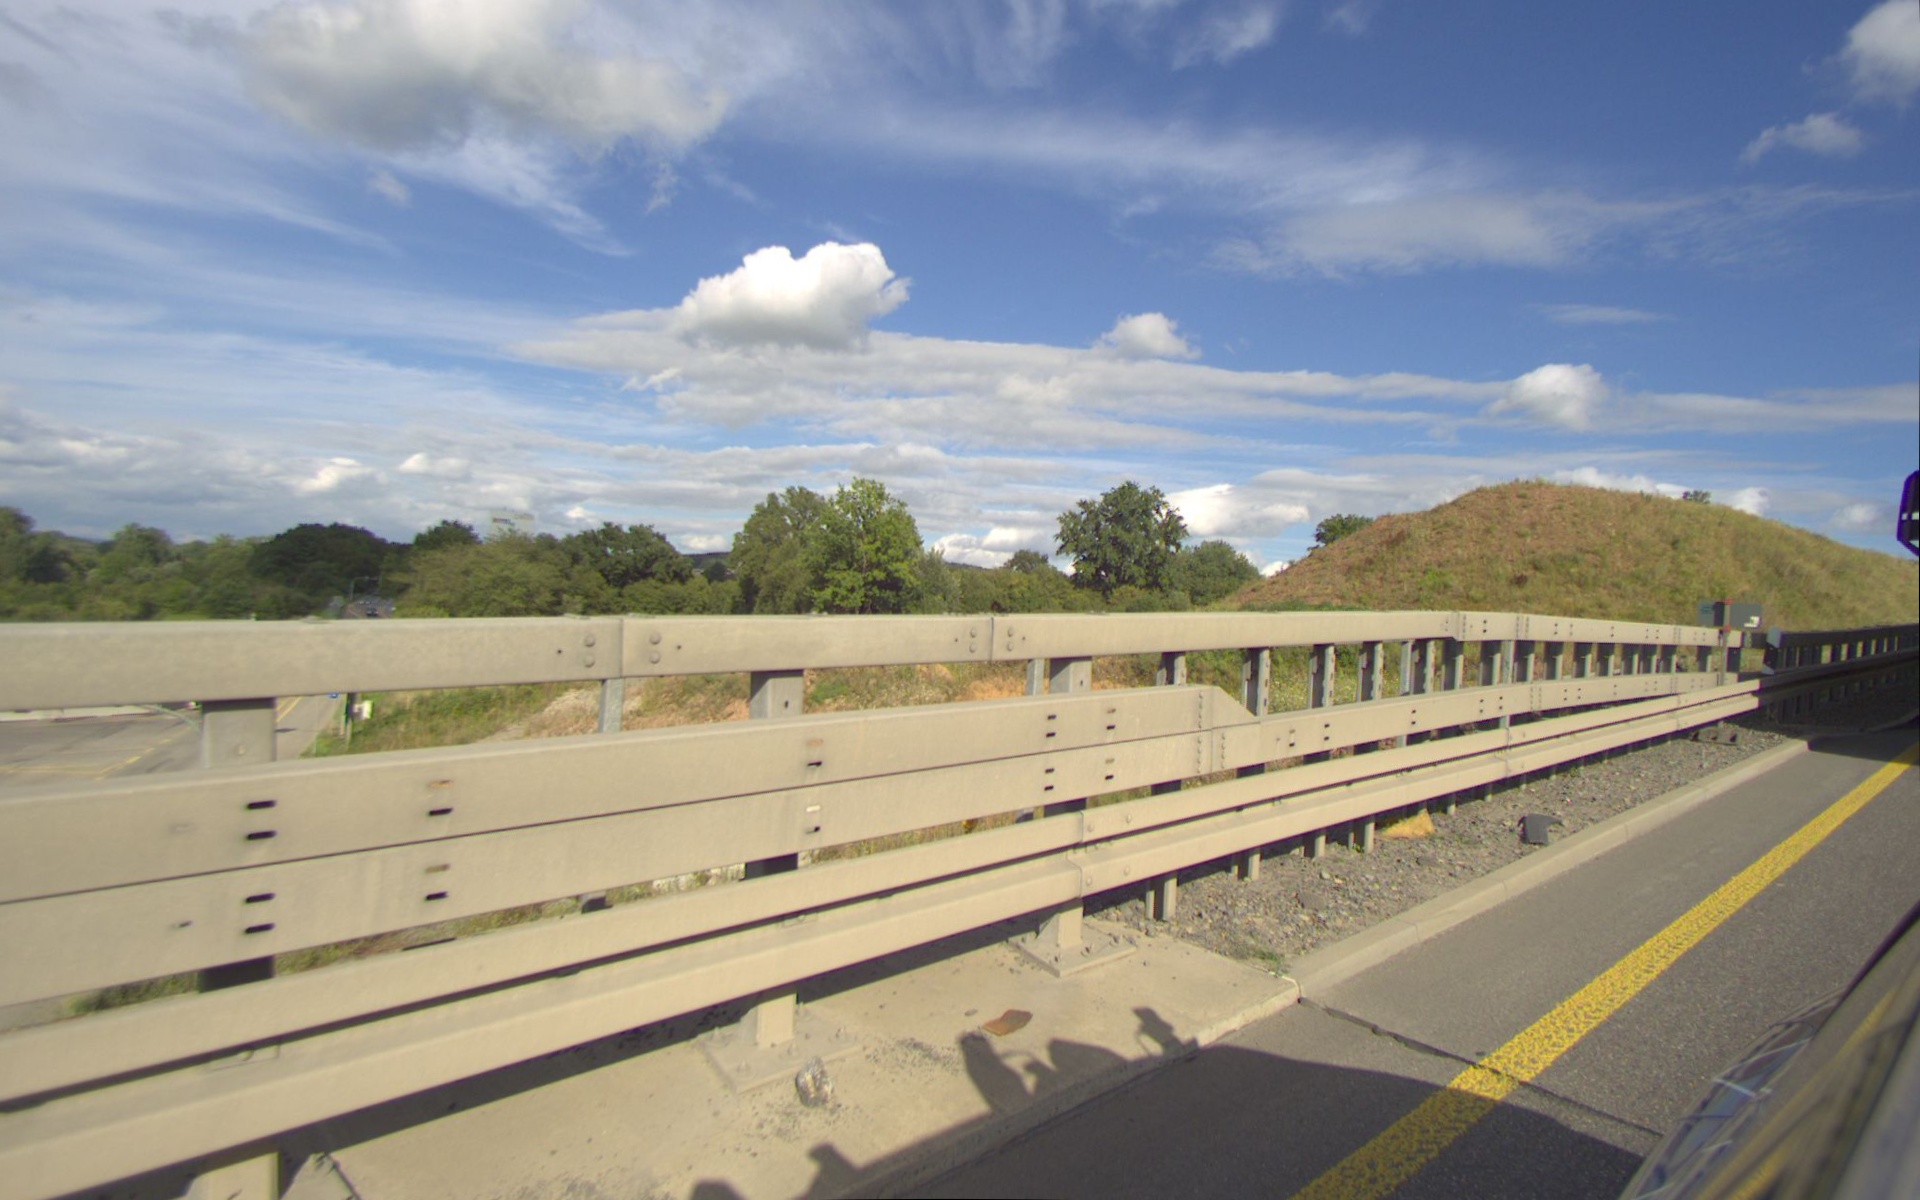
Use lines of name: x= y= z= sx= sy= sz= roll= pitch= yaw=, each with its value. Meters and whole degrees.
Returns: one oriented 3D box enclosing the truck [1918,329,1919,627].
truck: x=13.460 y=-0.577 z=11.569 sx=10.137 sy=3.896 sz=2.661 roll=-1 pitch=0 yaw=-41
